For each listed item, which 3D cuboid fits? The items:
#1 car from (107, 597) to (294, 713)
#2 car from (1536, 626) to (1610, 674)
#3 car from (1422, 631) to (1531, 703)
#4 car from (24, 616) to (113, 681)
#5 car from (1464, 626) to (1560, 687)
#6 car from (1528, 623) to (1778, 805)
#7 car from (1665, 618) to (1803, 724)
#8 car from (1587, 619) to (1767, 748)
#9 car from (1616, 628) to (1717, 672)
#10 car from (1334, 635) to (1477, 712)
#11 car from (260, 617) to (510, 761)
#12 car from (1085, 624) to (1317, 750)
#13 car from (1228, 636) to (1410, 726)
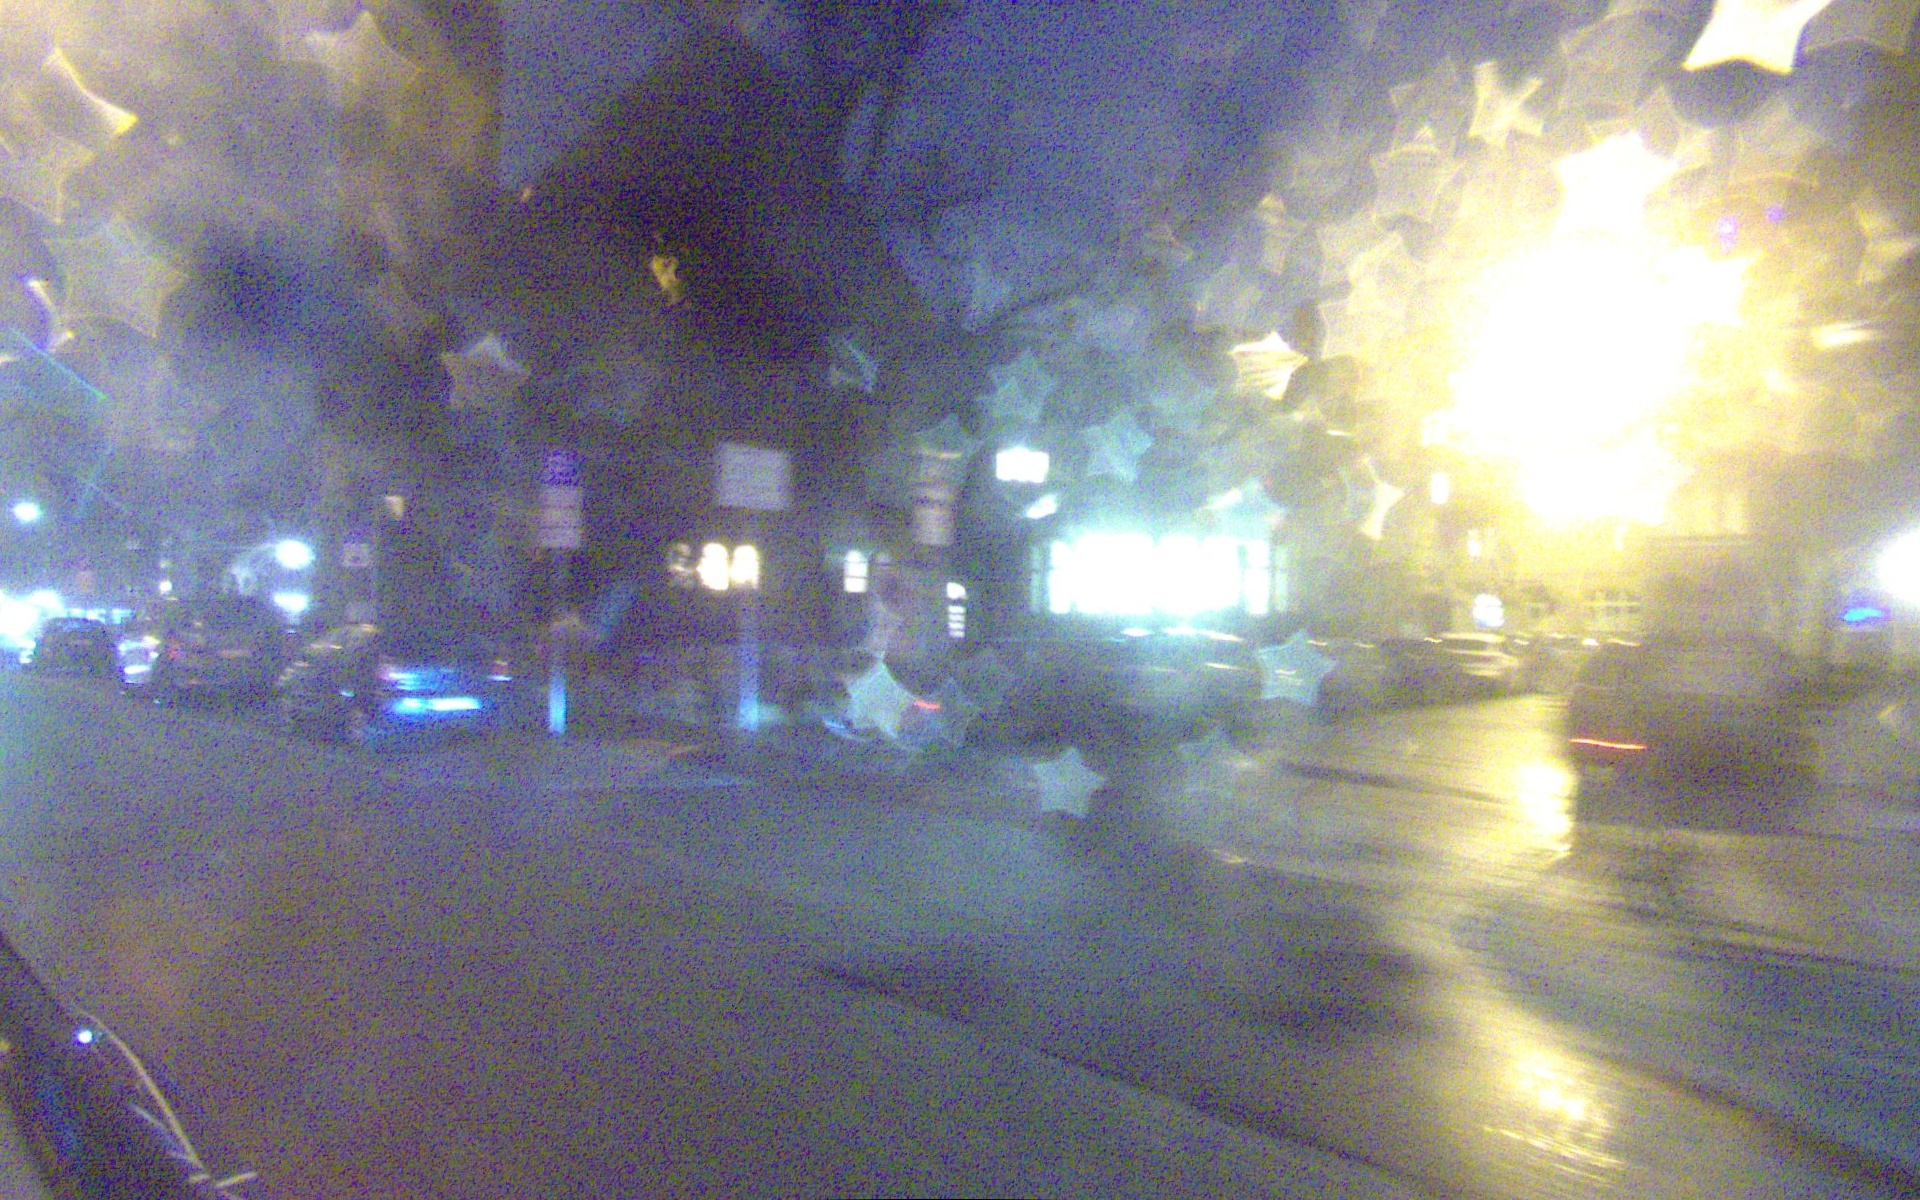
[{"bbox_3d":[-14.051,0.944,18.607,4.826,1.860,1.846,-1,-3,42],"label":"car"},{"bbox_3d":[23.067,1.824,38.005,1.853,1.620,3.948,-1,-1,39],"label":"car"},{"bbox_3d":[13.574,1.677,26.480,1.852,1.620,3.949,-1,-1,37],"label":"car"},{"bbox_3d":[-25.643,1.340,29.063,1.790,1.683,4.415,-1,-1,-43],"label":"car"},{"bbox_3d":[16.626,1.632,30.412,1.853,1.620,3.948,-1,-1,39],"label":"car"},{"bbox_3d":[7.636,1.047,10.987,1.790,1.550,3.945,-1,-1,41],"label":"car"},{"bbox_3d":[15.101,1.310,19.671,1.885,1.826,3.945,-1,-3,41],"label":"car"},{"bbox_3d":[11.192,1.168,15.699,1.885,1.693,3.945,-1,-1,41],"label":"car"},{"bbox_3d":[29.228,2.037,42.001,1.802,1.683,4.079,-1,-1,9],"label":"car"},{"bbox_3d":[9.999,1.563,22.592,1.854,1.460,3.946,-1,-1,41],"label":"car"},{"bbox_3d":[-7.079,0.969,12.338,3.561,1.453,1.530,-1,0,41],"label":"car"},{"bbox_3d":[3.628,1.161,14.834,1.716,1.583,3.892,-1,-2,41],"label":"car"},{"bbox_3d":[6.661,1.411,18.556,1.854,1.460,3.945,-2,-3,41],"label":"car"}]
